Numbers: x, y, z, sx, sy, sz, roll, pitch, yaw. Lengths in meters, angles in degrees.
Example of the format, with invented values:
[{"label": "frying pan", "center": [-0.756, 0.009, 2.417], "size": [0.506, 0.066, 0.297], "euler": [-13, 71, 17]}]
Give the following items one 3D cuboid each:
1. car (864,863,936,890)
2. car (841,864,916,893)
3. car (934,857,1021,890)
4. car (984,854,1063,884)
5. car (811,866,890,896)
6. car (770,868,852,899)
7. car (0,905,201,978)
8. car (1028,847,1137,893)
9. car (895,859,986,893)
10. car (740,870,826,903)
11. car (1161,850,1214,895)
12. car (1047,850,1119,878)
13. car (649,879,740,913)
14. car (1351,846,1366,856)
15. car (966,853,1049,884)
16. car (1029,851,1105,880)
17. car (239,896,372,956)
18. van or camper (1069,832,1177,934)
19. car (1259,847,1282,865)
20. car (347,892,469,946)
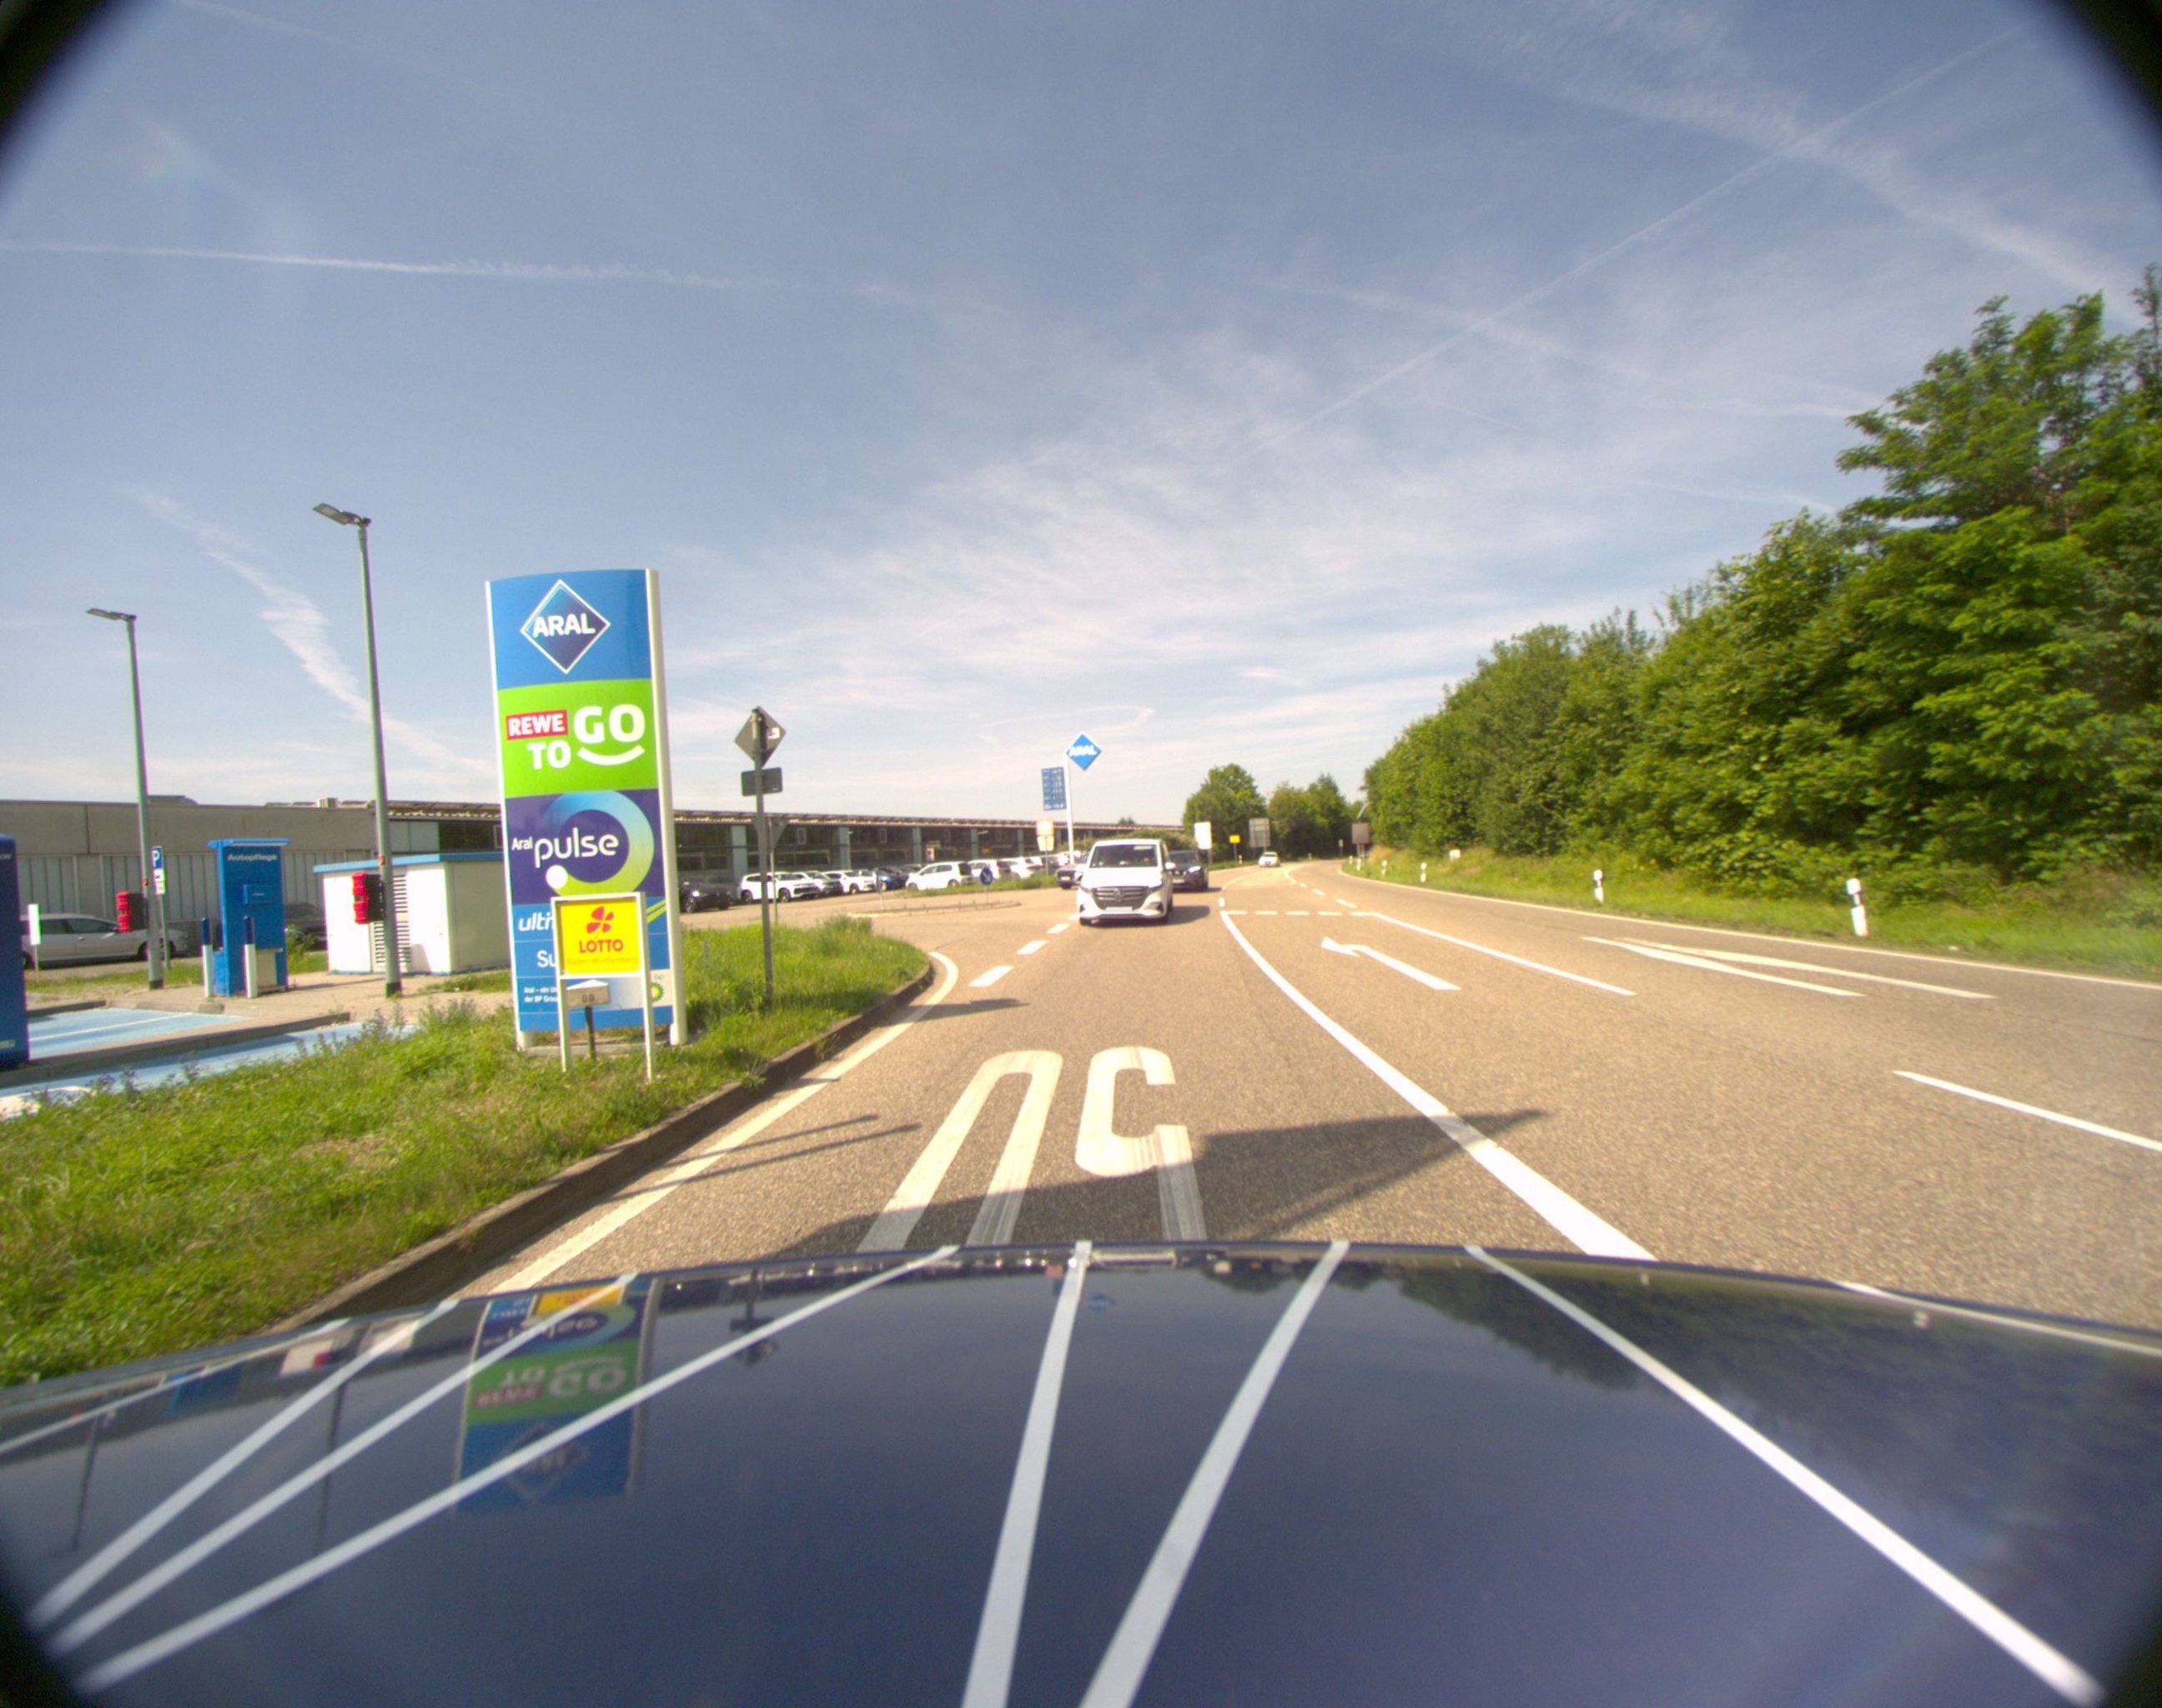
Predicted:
[{"label": "car", "center": [-11.850, 1.453, 49.726], "size": [4.454, 1.628, 1.826], "euler": [-3, -1, 28]}, {"label": "car", "center": [-12.759, 1.541, 47.753], "size": [4.454, 1.628, 1.826], "euler": [-3, -1, 28]}, {"label": "car", "center": [-5.560, 1.051, 40.731], "size": [4.248, 1.628, 1.825], "euler": [-2, -1, 22]}, {"label": "car", "center": [-3.401, 0.895, 45.209], "size": [4.248, 1.628, 1.825], "euler": [-2, -1, 22]}, {"label": "car", "center": [-13.697, 1.609, 45.088], "size": [4.454, 1.628, 1.826], "euler": [-3, -1, 28]}, {"label": "car", "center": [-15.378, 1.702, 43.206], "size": [4.454, 1.628, 1.826], "euler": [-3, -1, 28]}, {"label": "car", "center": [-27.705, 2.376, 21.035], "size": [1.885, 1.595, 4.028], "euler": [-2, 0, 31]}, {"label": "car", "center": [0.162, 0.703, 35.352], "size": [1.994, 1.820, 5.252], "euler": [-2, 1, 42]}, {"label": "car", "center": [-7.269, 1.134, 39.250], "size": [4.248, 1.628, 1.825], "euler": [-2, -1, 22]}, {"label": "car", "center": [-15.978, 1.755, 40.710], "size": [4.454, 1.628, 1.826], "euler": [-3, -1, 28]}, {"label": "car", "center": [4.041, 0.646, 28.900], "size": [1.820, 1.532, 3.729], "euler": [-2, 0, 7]}, {"label": "car", "center": [0.118, 0.639, 49.097], "size": [4.248, 1.628, 1.825], "euler": [-2, -1, 22]}, {"label": "car", "center": [-18.304, 1.998, 35.923], "size": [4.036, 1.449, 1.826], "euler": [-3, -1, 28]}, {"label": "car", "center": [49.451, -0.584, 135.356], "size": [1.864, 1.632, 4.007], "euler": [-2, 0, 29]}, {"label": "car", "center": [-4.123, 0.823, 42.838], "size": [4.248, 1.628, 1.825], "euler": [-2, -1, 22]}, {"label": "car", "center": [-0.872, 0.706, 46.791], "size": [4.248, 1.628, 1.825], "euler": [-2, -1, 22]}, {"label": "car", "center": [-24.232, 2.199, 23.727], "size": [4.011, 1.595, 1.894], "euler": [-2, 0, 30]}, {"label": "van or camper", "center": [1.169, 0.582, 18.019], "size": [1.997, 2.002, 5.293], "euler": [-2, 0, 8]}, {"label": "car", "center": [18.762, 0.177, 74.955], "size": [1.865, 1.632, 4.427], "euler": [-2, 0, 18]}, {"label": "car", "center": [-23.042, 2.190, 26.008], "size": [4.011, 1.595, 1.894], "euler": [-2, 0, 30]}]
